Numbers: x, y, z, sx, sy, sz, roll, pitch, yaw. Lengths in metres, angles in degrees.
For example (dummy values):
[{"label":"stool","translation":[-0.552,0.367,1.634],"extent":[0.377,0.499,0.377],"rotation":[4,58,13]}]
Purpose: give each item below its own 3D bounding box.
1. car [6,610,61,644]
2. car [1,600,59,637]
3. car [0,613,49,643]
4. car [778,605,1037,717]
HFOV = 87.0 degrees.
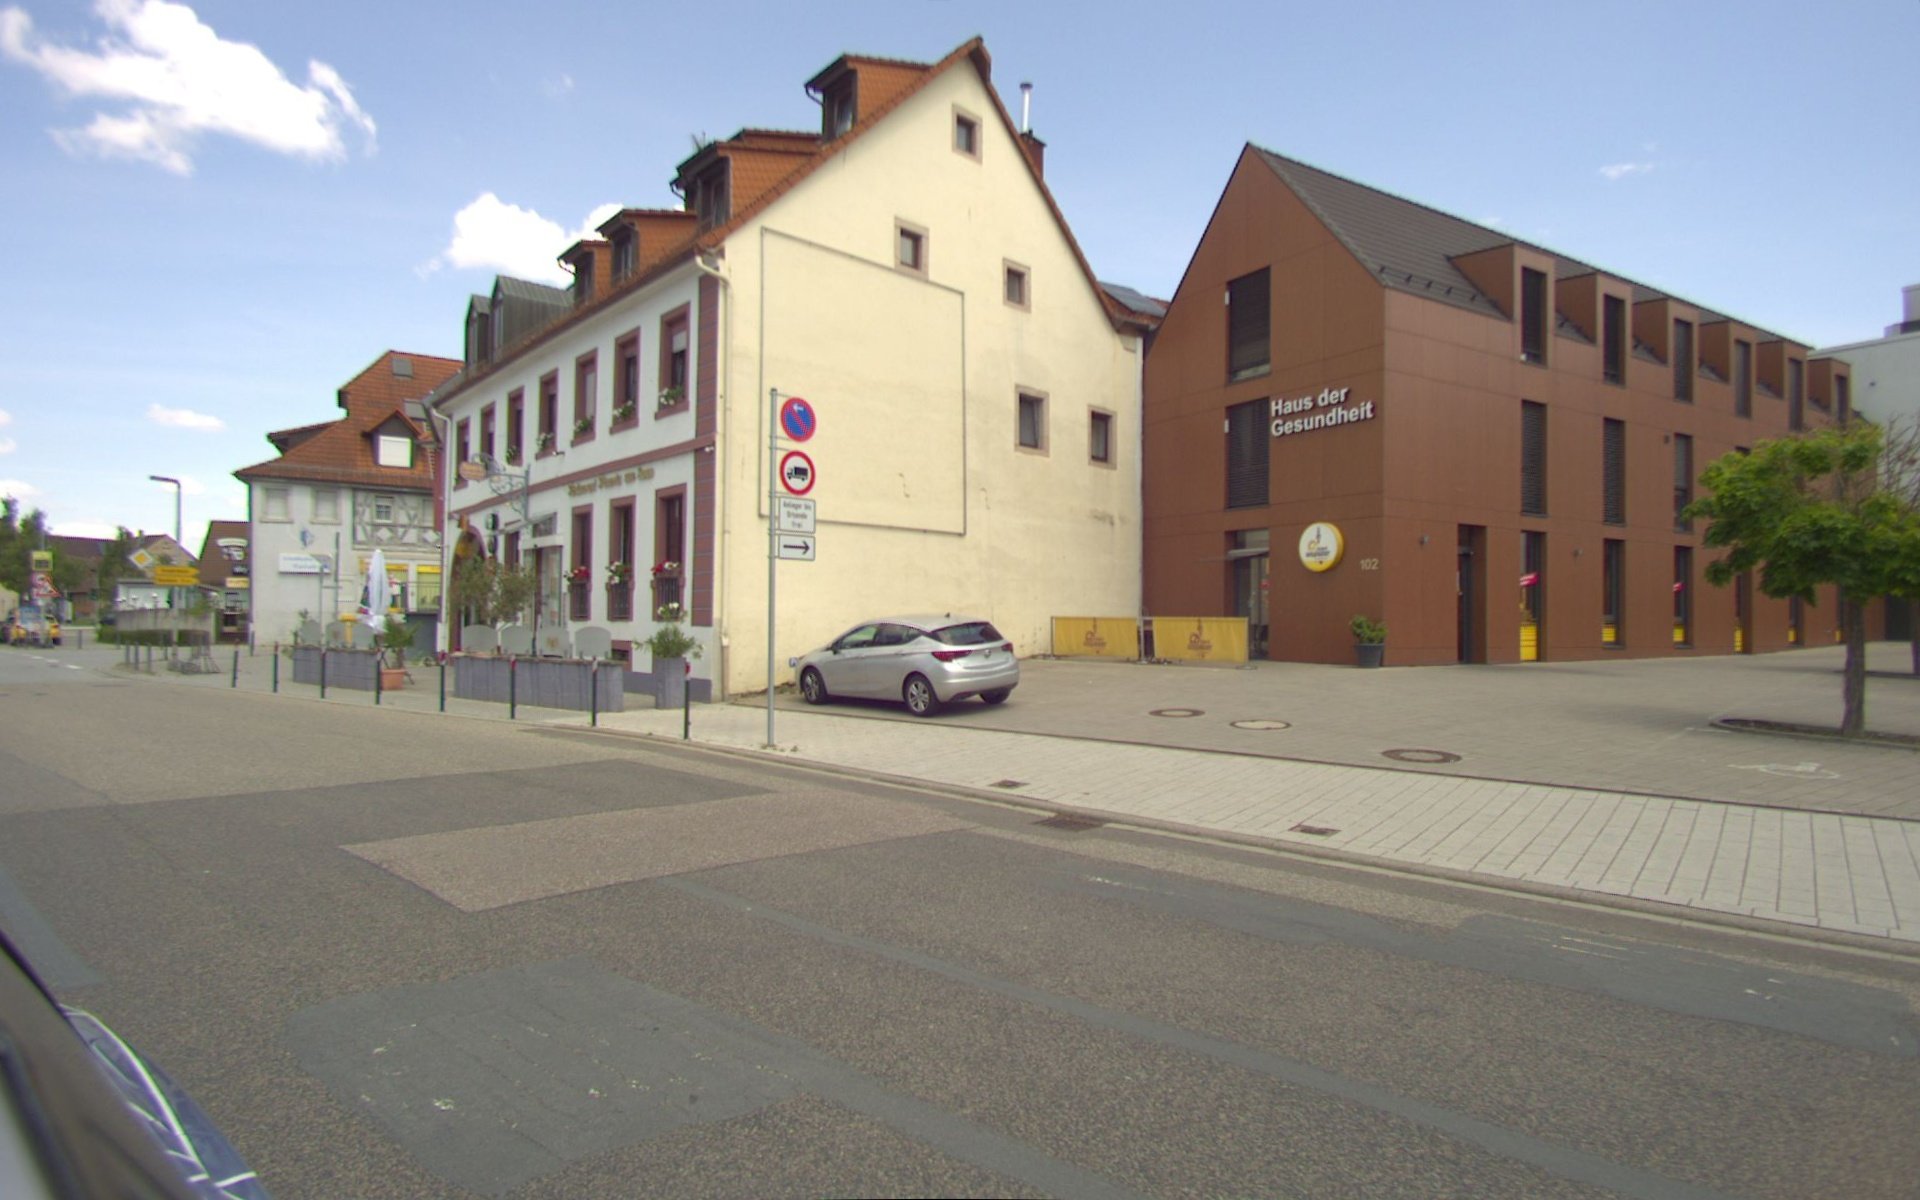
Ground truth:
[{"label":"car","translation":[-42.223,1.218,46.098],"extent":[1.649,1.486,3.965],"rotation":[3,-3,-45]},{"label":"car","translation":[-51.908,1.056,56.560],"extent":[1.961,2.005,5.053],"rotation":[2,-2,-39]},{"label":"car","translation":[-46.946,1.383,50.755],"extent":[1.794,1.434,4.543],"rotation":[2,-2,-42]},{"label":"car","translation":[-0.958,0.874,16.300],"extent":[1.738,1.503,4.279],"rotation":[-3,1,-44]}]
